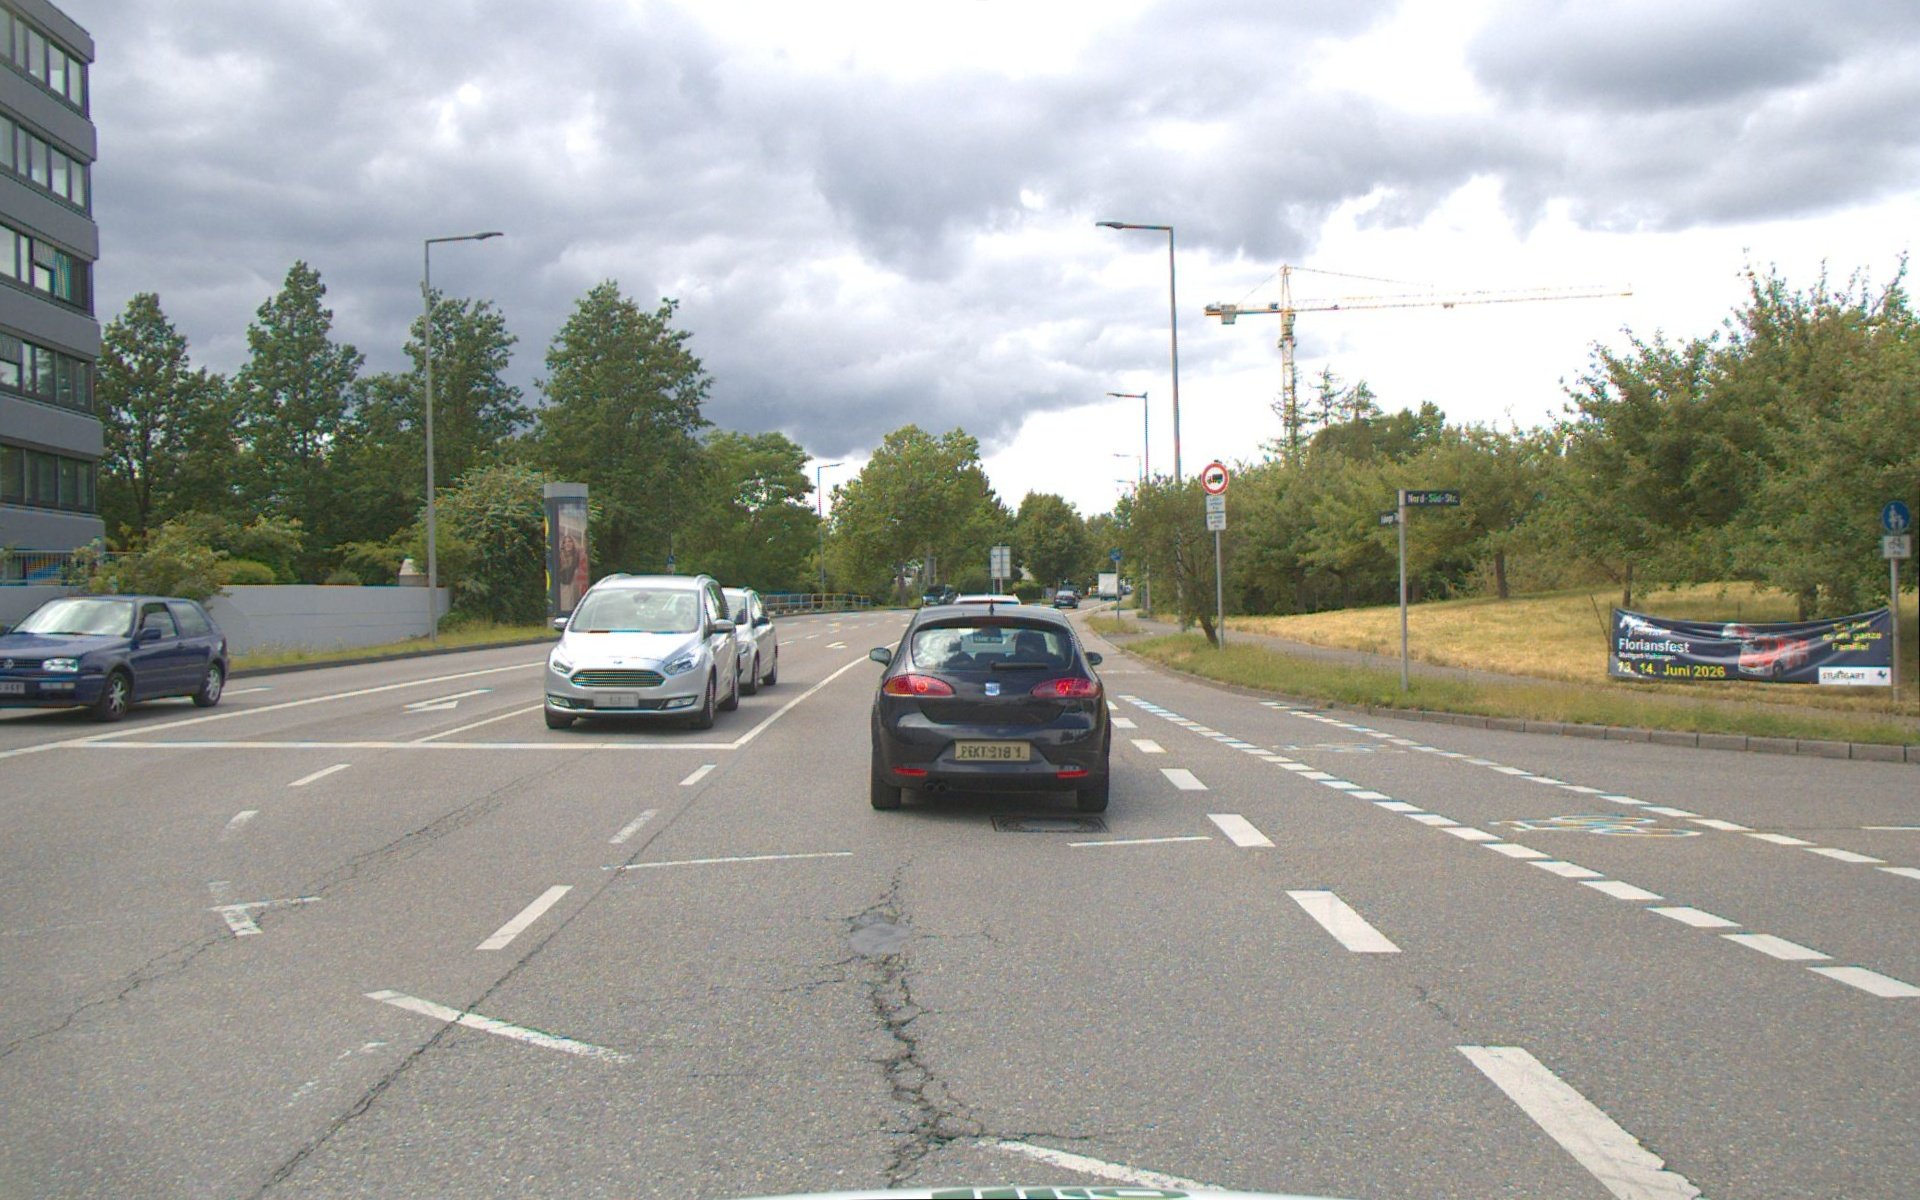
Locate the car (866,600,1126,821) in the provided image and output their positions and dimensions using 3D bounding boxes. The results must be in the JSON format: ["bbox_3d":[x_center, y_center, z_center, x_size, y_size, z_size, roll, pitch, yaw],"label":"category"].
[{"bbox_3d":[0.149,0.737,12.715,1.677,1.442,3.456,1,0,-4],"label":"car"}]

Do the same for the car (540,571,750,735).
[{"bbox_3d":[-3.629,0.537,19.826,1.784,1.716,4.643,1,0,-2],"label":"car"}]

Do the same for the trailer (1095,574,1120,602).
[{"bbox_3d":[17.480,-1.398,195.492,2.438,3.127,5.591,1,0,11],"label":"trailer"}]

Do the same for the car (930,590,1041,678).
[{"bbox_3d":[0.408,0.605,30.450,1.798,1.493,3.749,1,0,-3],"label":"car"}]

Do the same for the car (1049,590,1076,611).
[{"bbox_3d":[8.216,0.022,132.535,1.951,1.593,4.474,0,0,6],"label":"car"}]

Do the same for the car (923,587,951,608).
[{"bbox_3d":[-1.821,-0.185,131.178,1.678,1.609,3.745,1,0,8],"label":"car"}]

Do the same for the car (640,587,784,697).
[{"bbox_3d":[-3.773,0.589,25.785,1.626,1.545,4.084,1,0,0],"label":"car"}]

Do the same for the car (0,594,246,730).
[{"bbox_3d":[-10.196,0.670,19.932,1.522,1.444,3.895,0,1,-1],"label":"car"}]
